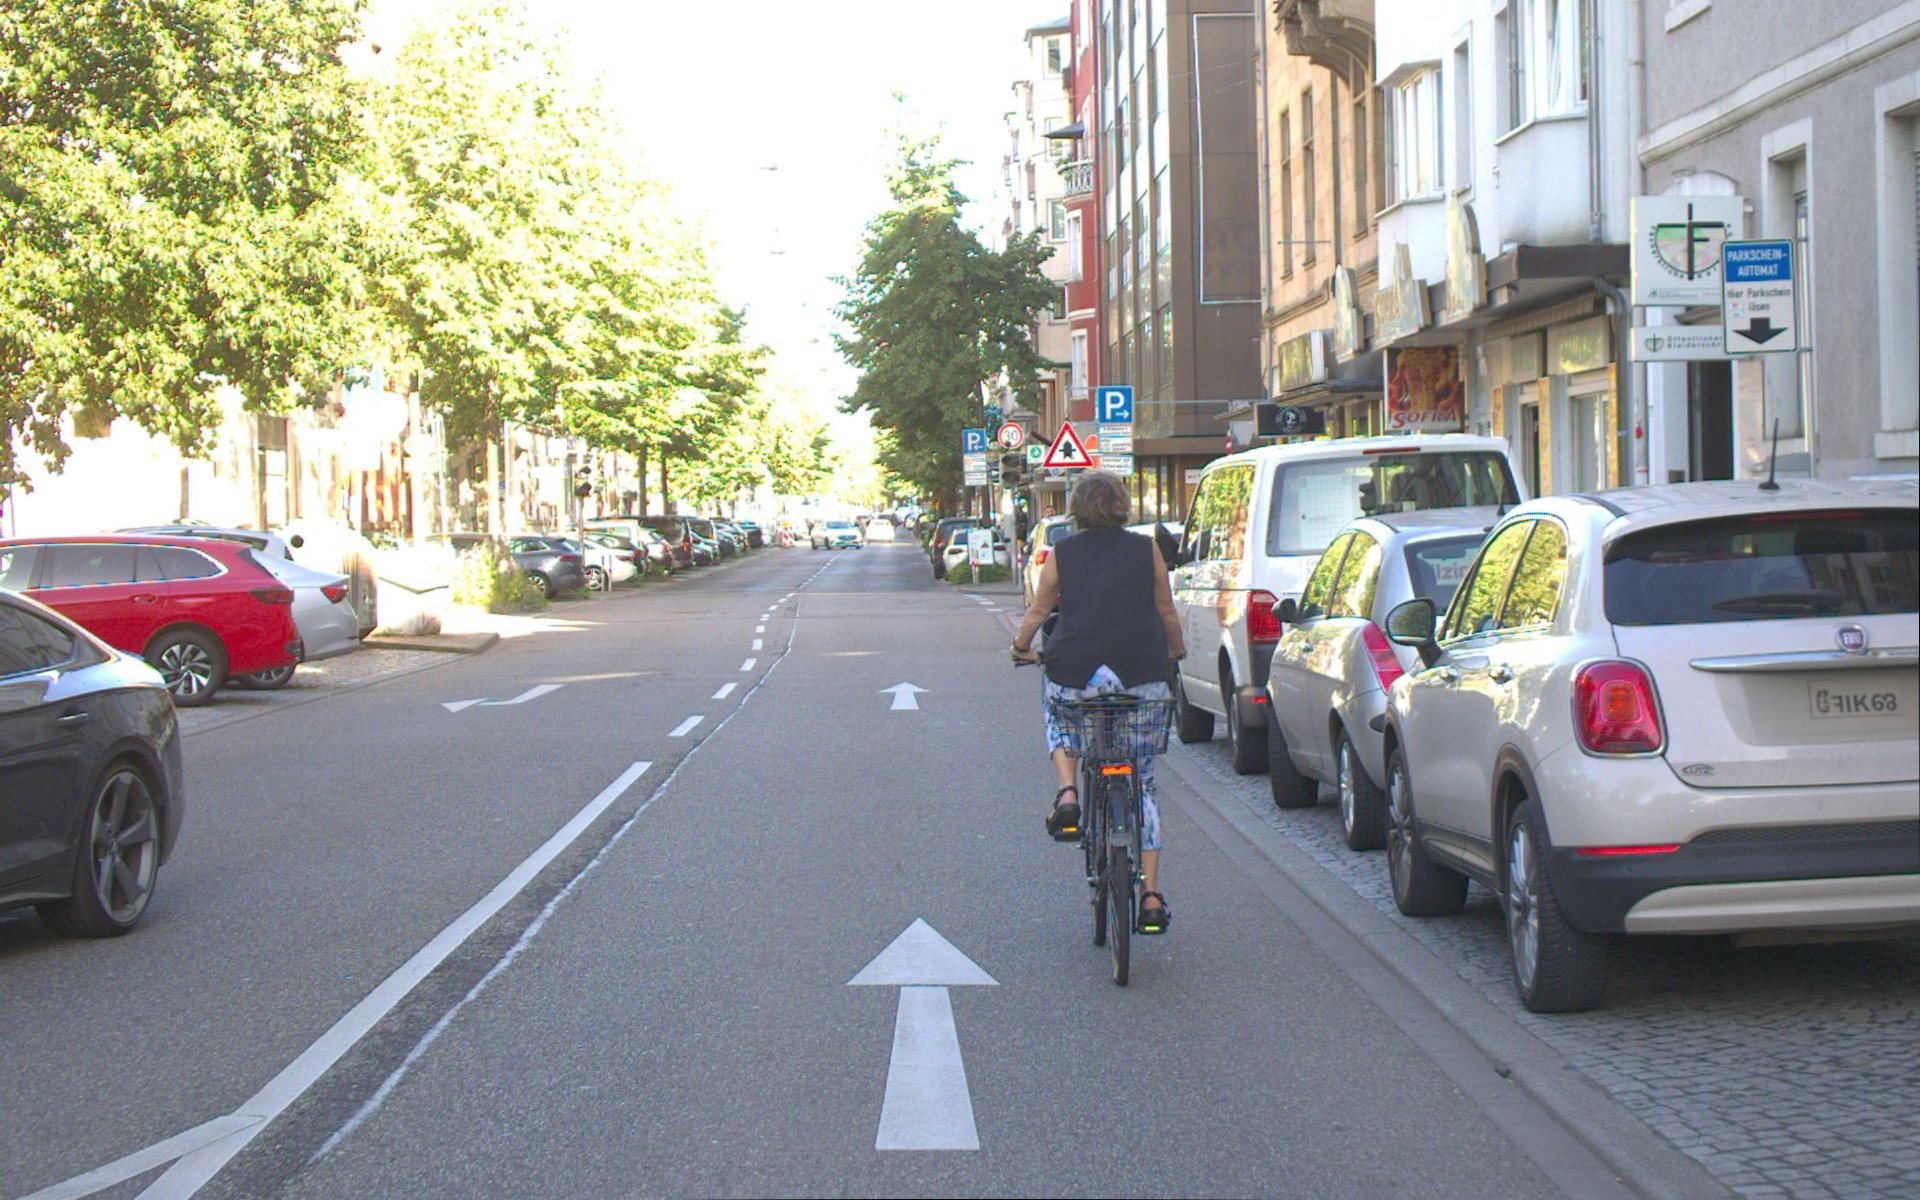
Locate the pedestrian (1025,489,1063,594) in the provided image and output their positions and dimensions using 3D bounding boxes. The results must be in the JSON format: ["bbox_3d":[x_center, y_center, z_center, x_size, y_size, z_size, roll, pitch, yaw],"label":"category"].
[{"bbox_3d":[1.401,-0.968,57.258,0.614,1.729,0.634,0,0,0],"label":"pedestrian"}]

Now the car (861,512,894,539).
[{"bbox_3d":[-4.975,-4.465,207.436,1.870,1.550,4.000,0,0,0],"label":"car"}]

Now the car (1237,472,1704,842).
[{"bbox_3d":[2.385,0.234,16.930,1.699,1.598,3.757,-1,0,0],"label":"car"}]

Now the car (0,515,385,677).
[{"bbox_3d":[-7.769,-0.037,32.621,4.221,1.472,1.736,0,0,-28],"label":"car"}]

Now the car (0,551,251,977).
[{"bbox_3d":[-4.187,0.538,11.239,1.912,1.412,4.808,0,0,12],"label":"car"}]

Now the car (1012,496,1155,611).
[{"bbox_3d":[1.840,-0.702,52.744,1.899,1.669,4.825,0,0,-1],"label":"car"}]

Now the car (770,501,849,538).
[{"bbox_3d":[-8.225,-4.429,188.478,3.988,2.007,1.999,0,1,9],"label":"car"}]

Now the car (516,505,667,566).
[{"bbox_3d":[-10.280,-1.803,96.133,3.987,1.668,2.089,0,1,0],"label":"car"}]

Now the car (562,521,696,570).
[{"bbox_3d":[-10.271,-1.694,106.964,3.987,1.503,2.000,0,1,-1],"label":"car"}]

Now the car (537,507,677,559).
[{"bbox_3d":[-10.488,-1.982,102.335,3.987,1.503,1.895,0,1,0],"label":"car"}]

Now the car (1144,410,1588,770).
[{"bbox_3d":[2.429,-0.130,21.930,1.993,1.998,5.118,-1,2,-2],"label":"car"}]

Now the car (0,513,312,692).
[{"bbox_3d":[-8.141,0.012,29.395,4.834,1.483,1.765,0,0,-24],"label":"car"}]

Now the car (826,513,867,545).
[{"bbox_3d":[-5.799,-3.638,176.026,1.993,1.550,4.000,0,0,0],"label":"car"}]

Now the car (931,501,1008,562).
[{"bbox_3d":[0.275,-1.850,93.850,1.993,1.612,4.010,1,0,1],"label":"car"}]

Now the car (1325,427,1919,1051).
[{"bbox_3d":[2.475,0.369,12.063,1.745,1.733,4.961,0,0,-1],"label":"car"}]

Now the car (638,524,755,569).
[{"bbox_3d":[-9.530,-1.939,124.558,3.987,1.503,2.000,1,1,3],"label":"car"}]

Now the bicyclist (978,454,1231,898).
[{"bbox_3d":[0.476,0.244,11.794,0.786,1.448,1.096,0,0,-2],"label":"bicyclist"}]

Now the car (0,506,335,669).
[{"bbox_3d":[-8.604,-0.125,35.052,3.987,1.580,1.831,0,0,-32],"label":"car"}]

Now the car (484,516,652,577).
[{"bbox_3d":[-9.801,-1.336,86.230,3.987,1.503,2.000,0,1,0],"label":"car"}]

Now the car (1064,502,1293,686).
[{"bbox_3d":[1.949,-0.067,31.644,1.718,1.510,3.583,-3,0,-1],"label":"car"}]

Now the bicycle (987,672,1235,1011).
[{"bbox_3d":[0.472,0.766,11.853,0.652,0.955,2.698,0,0,-2],"label":"bicycle"}]

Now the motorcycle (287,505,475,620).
[{"bbox_3d":[-8.444,-0.554,50.182,2.474,1.599,0.999,-1,1,18],"label":"motorcycle"}]

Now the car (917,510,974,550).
[{"bbox_3d":[-0.562,-2.574,126.216,1.993,1.448,4.001,0,1,-1],"label":"car"}]

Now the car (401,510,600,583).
[{"bbox_3d":[-9.812,-1.144,73.562,3.987,1.503,2.000,0,1,0],"label":"car"}]

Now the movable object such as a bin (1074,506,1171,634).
[{"bbox_3d":[2.001,-0.381,42.105,1.073,1.452,1.492,-3,2,4],"label":"movable object such as a bin"}]

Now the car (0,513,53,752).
[{"bbox_3d":[-8.434,0.201,23.650,3.986,1.592,1.750,0,0,-4],"label":"car"}]

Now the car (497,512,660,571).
[{"bbox_3d":[-9.811,-1.505,88.623,3.987,1.503,2.000,0,1,0],"label":"car"}]

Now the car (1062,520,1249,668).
[{"bbox_3d":[1.970,-0.075,35.583,1.678,1.443,3.785,0,0,0],"label":"car"}]
